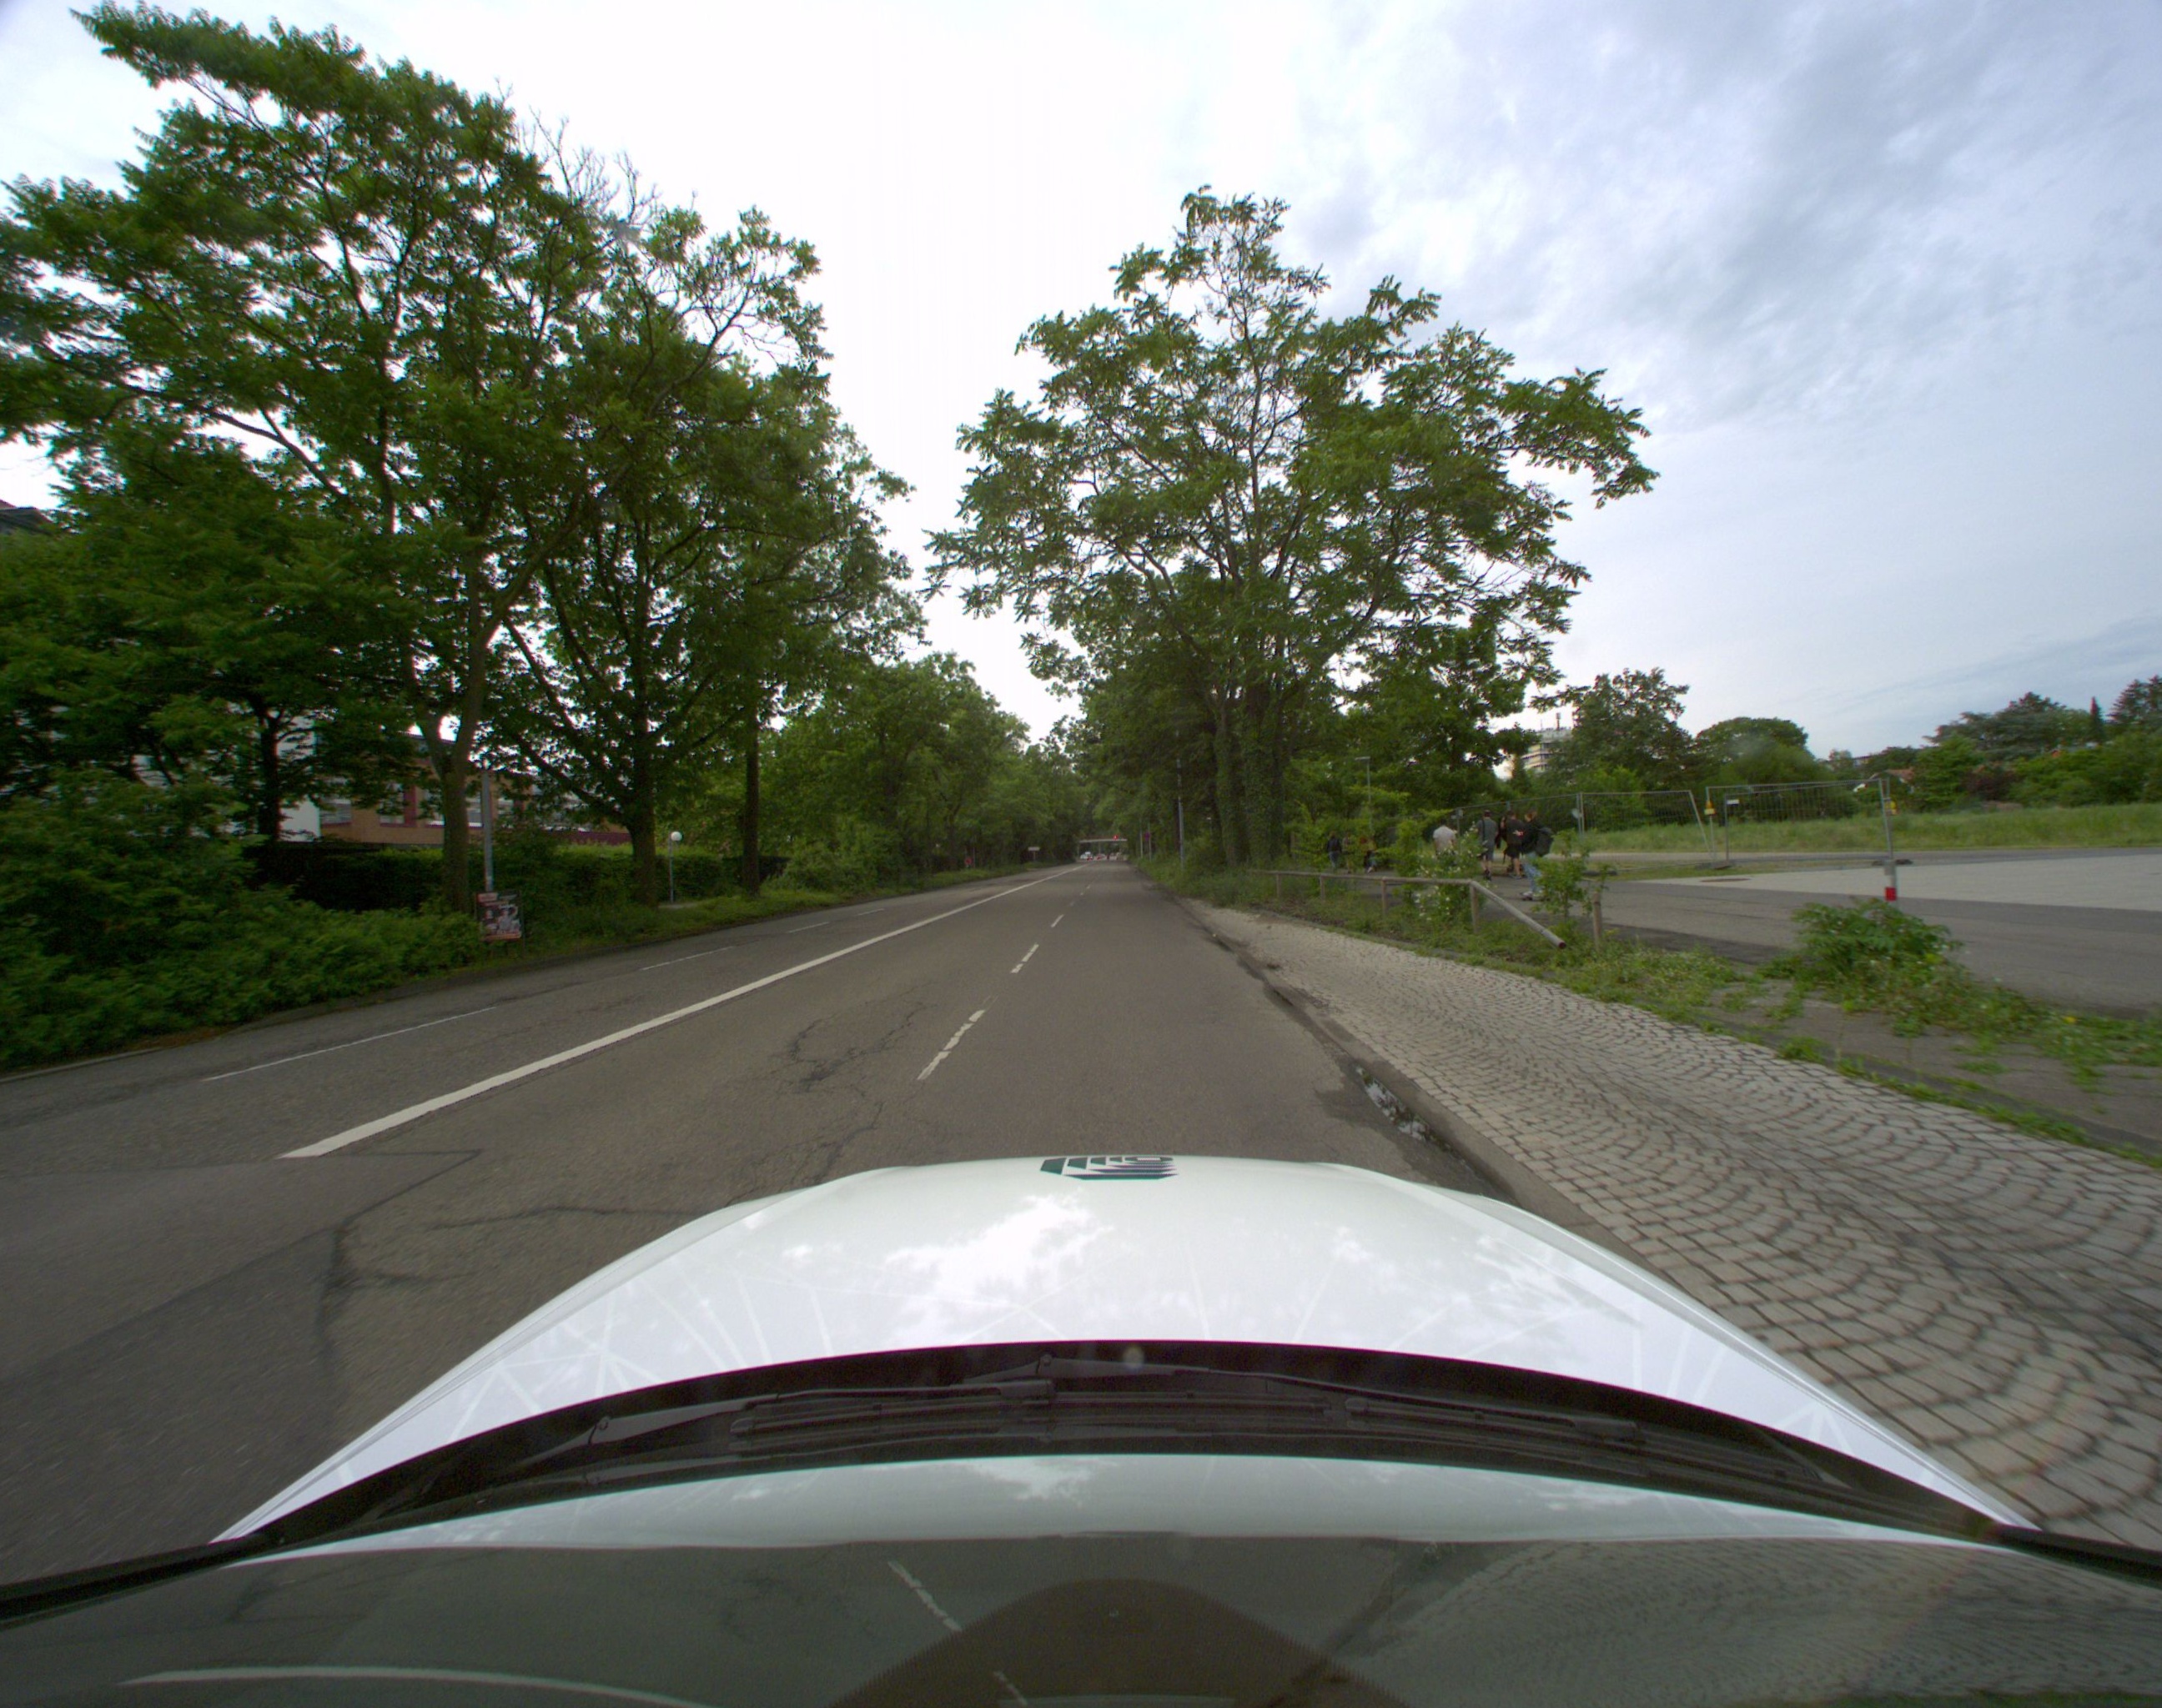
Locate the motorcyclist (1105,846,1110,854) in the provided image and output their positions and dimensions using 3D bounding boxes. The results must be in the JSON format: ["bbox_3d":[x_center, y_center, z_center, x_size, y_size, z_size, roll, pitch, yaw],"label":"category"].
[{"bbox_3d":[6.601,-1.043,201.163,1.059,2.013,0.843,-2,0,2],"label":"motorcyclist"}]

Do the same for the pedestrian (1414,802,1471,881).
[{"bbox_3d":[9.727,-0.328,21.952,0.923,2.013,1.039,-4,0,-2],"label":"pedestrian"}]

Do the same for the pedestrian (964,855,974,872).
[{"bbox_3d":[-11.019,0.947,80.384,0.788,1.613,0.849,-2,0,2],"label":"pedestrian"}]

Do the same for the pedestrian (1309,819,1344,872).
[{"bbox_3d":[9.801,-0.331,32.552,0.923,2.013,1.039,-4,0,-2],"label":"pedestrian"}]

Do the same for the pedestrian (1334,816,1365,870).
[{"bbox_3d":[10.507,-0.416,31.909,0.821,2.013,0.720,-5,0,2],"label":"pedestrian"}]

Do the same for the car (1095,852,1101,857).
[{"bbox_3d":[5.150,0.238,244.844,1.667,1.362,3.926,-2,0,4],"label":"car"}]

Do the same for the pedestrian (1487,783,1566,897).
[{"bbox_3d":[8.312,-0.252,15.221,0.842,2.013,0.892,-4,0,-7],"label":"pedestrian"}]

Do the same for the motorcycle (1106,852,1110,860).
[{"bbox_3d":[6.663,0.503,201.107,0.986,1.936,2.671,-2,0,3],"label":"motorcycle"}]

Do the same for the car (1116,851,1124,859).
[{"bbox_3d":[9.472,0.252,197.330,1.836,2.013,4.003,-2,0,2],"label":"car"}]

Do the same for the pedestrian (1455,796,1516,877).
[{"bbox_3d":[10.579,-0.445,21.332,0.923,2.013,1.039,-4,0,-2],"label":"pedestrian"}]

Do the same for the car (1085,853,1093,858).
[{"bbox_3d":[2.365,0.343,244.700,1.984,1.354,3.900,-2,0,5],"label":"car"}]

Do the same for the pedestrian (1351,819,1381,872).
[{"bbox_3d":[11.231,-0.344,32.085,0.821,2.013,0.720,-4,0,2],"label":"pedestrian"}]
